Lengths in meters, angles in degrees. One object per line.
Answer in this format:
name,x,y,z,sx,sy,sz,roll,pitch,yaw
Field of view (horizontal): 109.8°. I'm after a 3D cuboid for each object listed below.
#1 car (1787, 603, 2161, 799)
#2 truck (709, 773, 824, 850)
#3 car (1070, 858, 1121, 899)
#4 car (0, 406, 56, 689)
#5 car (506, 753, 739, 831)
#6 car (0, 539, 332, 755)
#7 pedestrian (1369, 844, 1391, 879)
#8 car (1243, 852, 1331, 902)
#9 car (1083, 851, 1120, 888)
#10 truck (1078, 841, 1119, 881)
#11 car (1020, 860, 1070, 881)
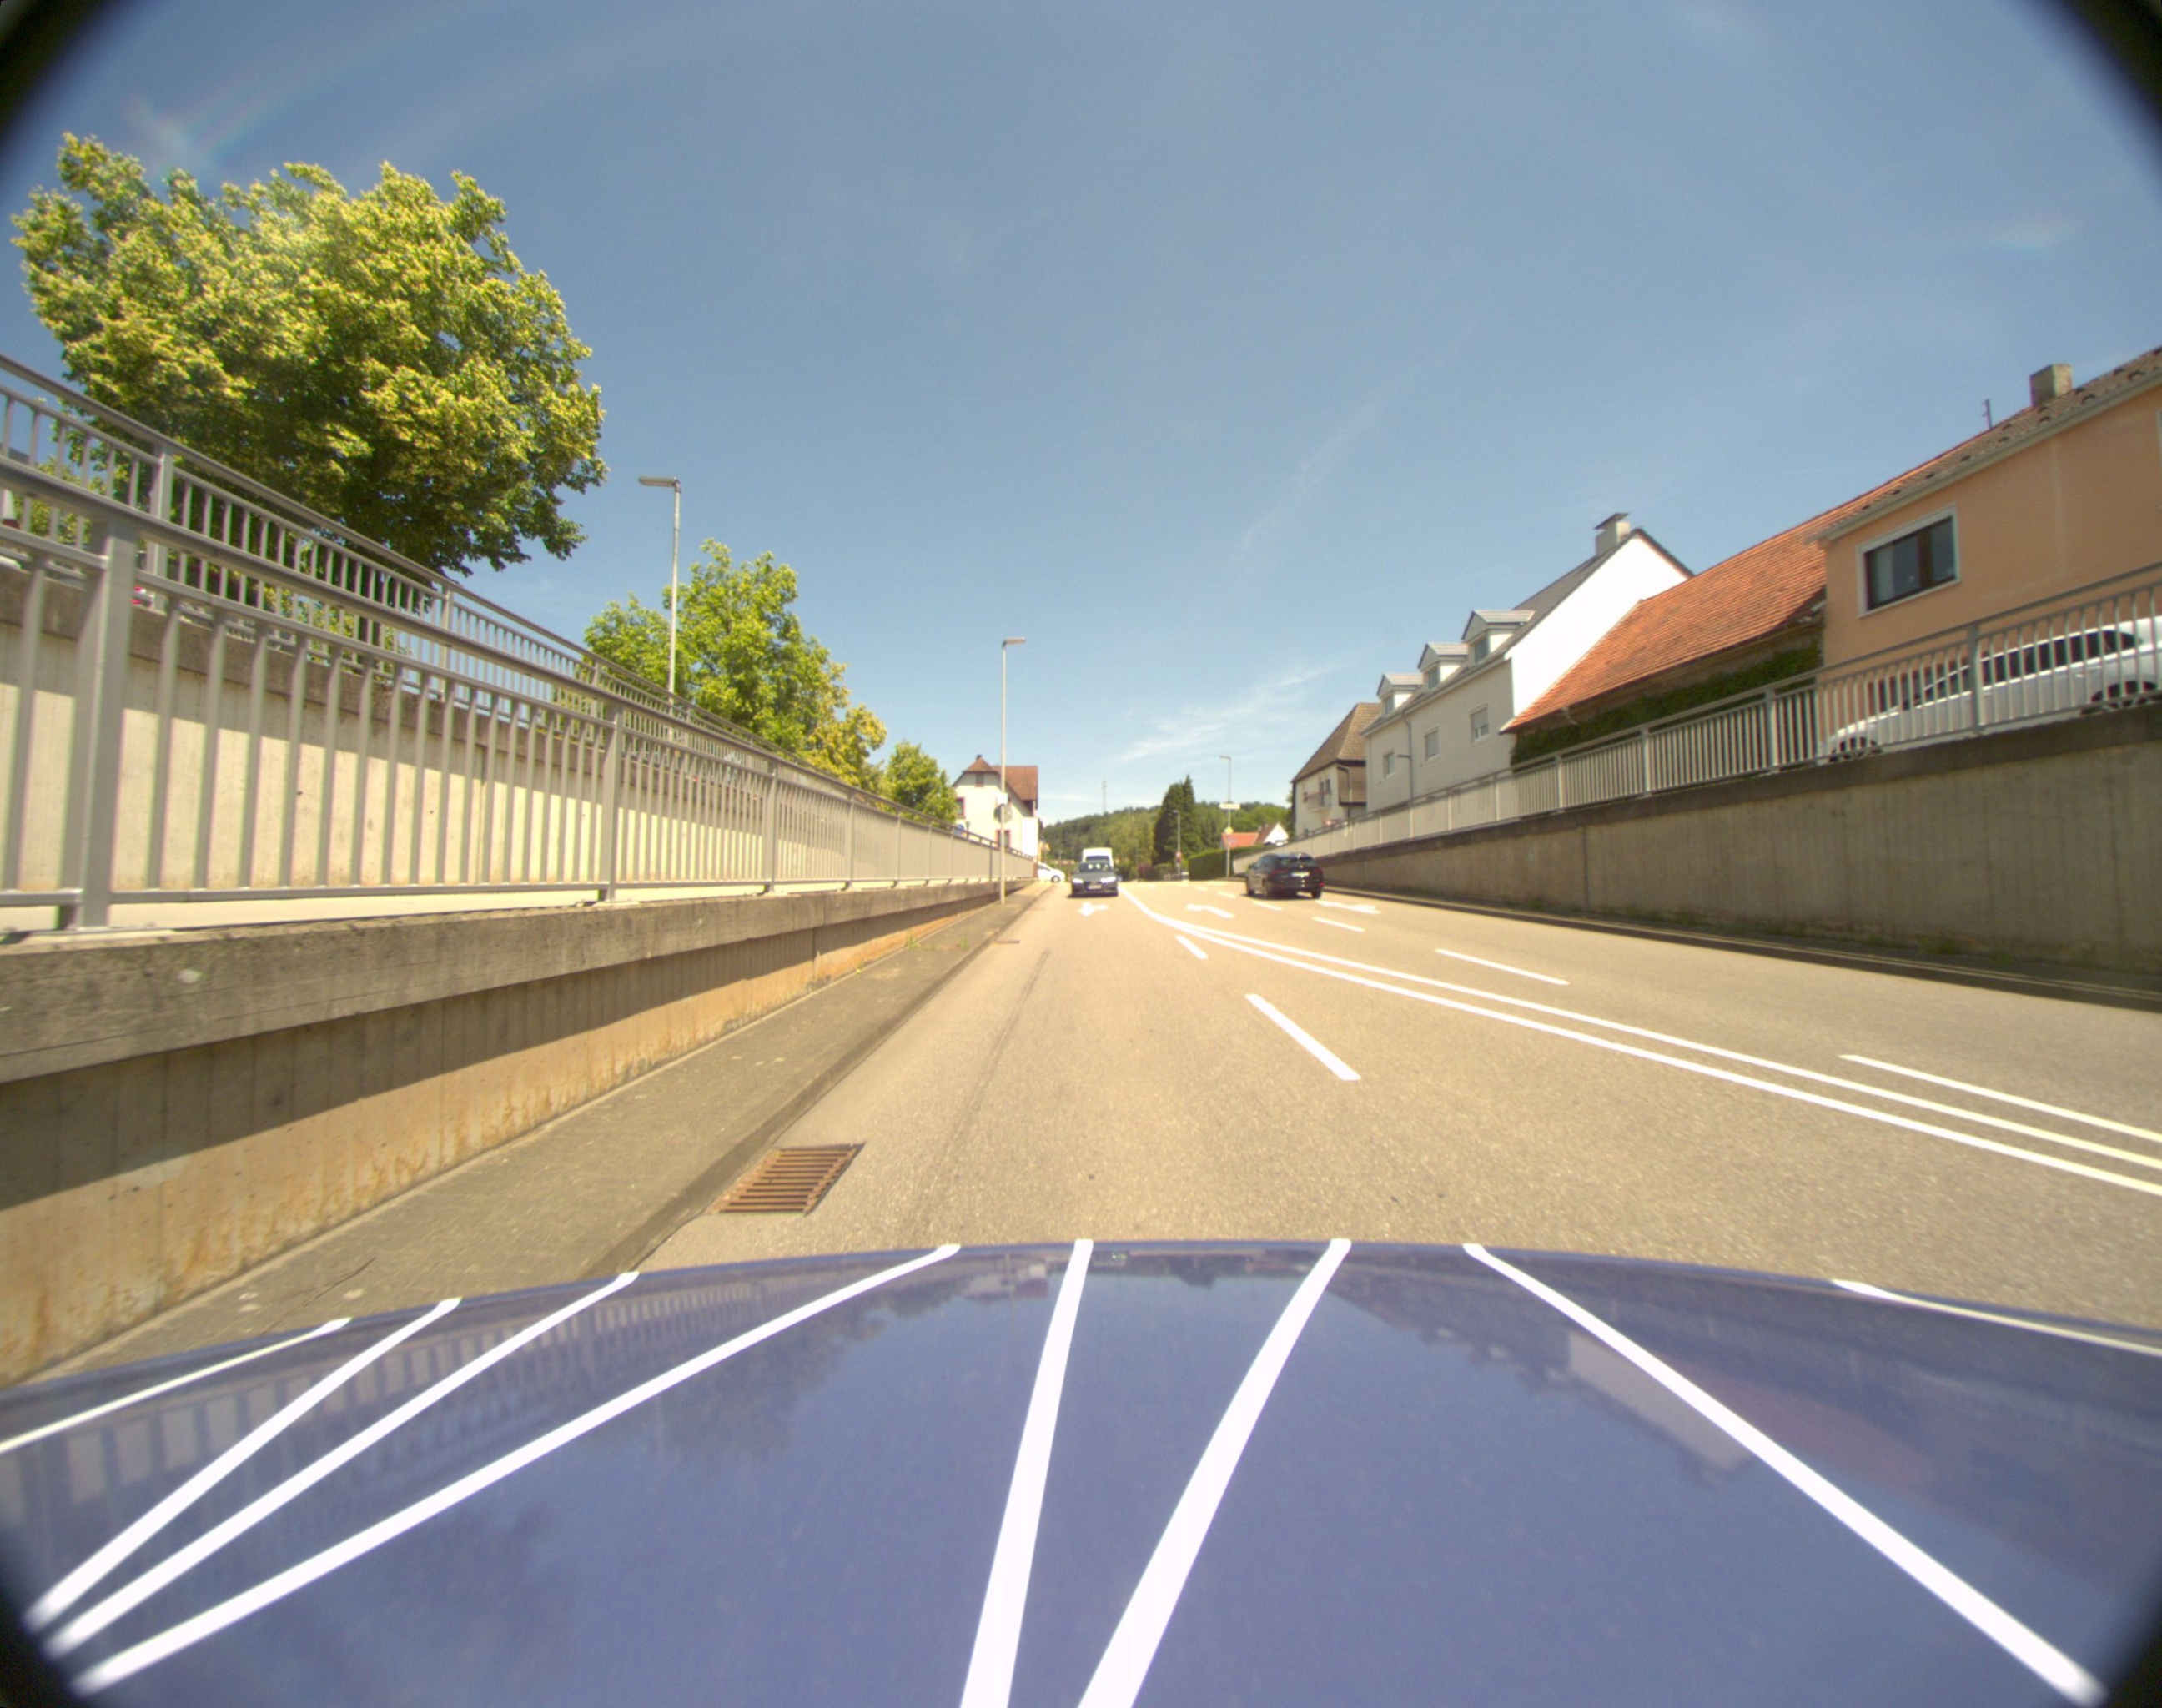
car,11.617,-1.700,9.266,1.818,1.453,4.311,-2,-3,-2
truck,-11.674,-1.480,28.687,2.138,2.319,5.262,-1,-3,0
car,0.525,0.918,30.212,1.864,1.441,3.999,-2,0,-1
car,-10.662,-2.346,5.014,5.124,2.050,1.990,0,-3,1
car,-10.178,-1.355,17.088,4.214,1.489,1.687,0,-3,1
car,-10.463,-1.960,7.635,4.214,1.586,1.687,0,-3,1
pedestrian,15.248,0.376,38.760,0.729,1.719,0.856,-2,0,-3
car,6.745,0.699,25.318,1.765,1.480,4.368,-2,0,1
car,1.163,0.867,45.572,1.999,2.002,4.547,-2,0,-1
truck,1.503,0.675,70.083,3.150,3.466,8.270,-1,-1,-3
car,-2.720,1.238,57.276,3.681,1.469,1.775,1,-2,-5
